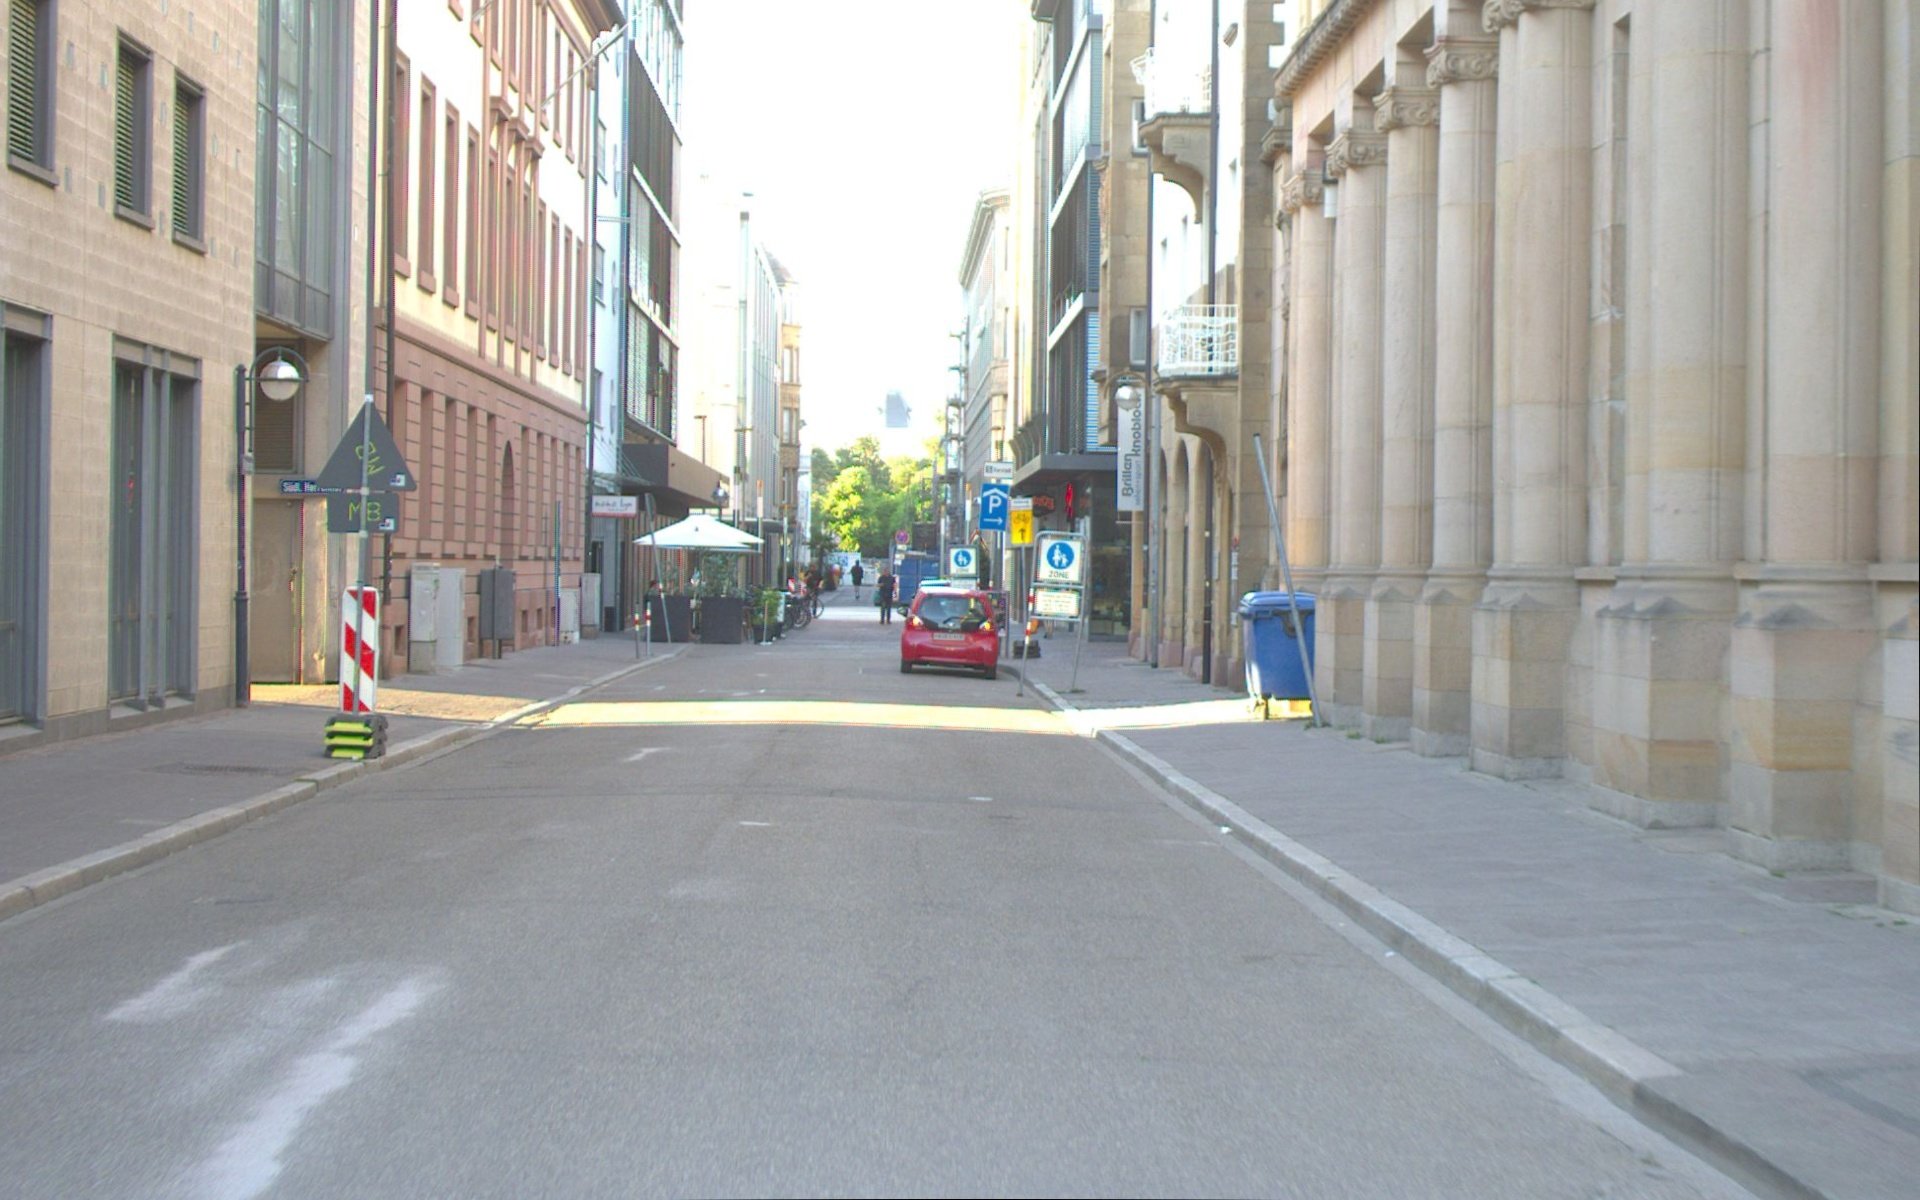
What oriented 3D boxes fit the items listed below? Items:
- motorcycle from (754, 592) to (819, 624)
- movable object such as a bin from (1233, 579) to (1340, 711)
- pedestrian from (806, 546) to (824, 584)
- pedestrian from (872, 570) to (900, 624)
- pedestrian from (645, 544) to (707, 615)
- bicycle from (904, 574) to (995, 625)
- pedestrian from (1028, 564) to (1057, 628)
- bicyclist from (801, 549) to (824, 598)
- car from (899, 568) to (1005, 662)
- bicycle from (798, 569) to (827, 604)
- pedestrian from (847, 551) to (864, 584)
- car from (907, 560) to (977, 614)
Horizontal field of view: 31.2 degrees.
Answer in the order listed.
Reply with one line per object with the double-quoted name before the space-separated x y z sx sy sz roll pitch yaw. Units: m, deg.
"motorcycle" -4.938 0.219 97.707 1.801 0.872 0.560 1 0 -5
"movable object such as a bin" 3.506 0.473 37.034 0.990 1.387 1.241 0 1 -2
"pedestrian" -6.278 -1.499 148.712 0.678 1.617 0.625 1 0 1
"pedestrian" -2.385 -0.089 110.476 0.865 1.707 0.852 1 0 -1
"pedestrian" -6.083 -0.434 73.692 1.290 1.482 0.661 1 0 -3
"bicycle" -0.245 -0.005 79.727 2.052 1.130 0.649 1 0 -4
"pedestrian" 1.921 -0.095 79.955 0.656 1.482 0.493 1 0 1
"bicyclist" -4.933 -0.900 114.940 0.636 1.635 0.772 0 1 -10
"car" -0.147 0.222 57.877 1.649 1.422 3.535 4 1 -1
"bicycle" -4.941 -0.452 115.007 0.636 1.153 2.502 1 1 -10
"pedestrian" -5.340 -1.646 175.761 0.804 1.667 0.888 1 1 1
"car" -0.582 -0.412 107.143 1.993 1.605 4.000 1 1 -3
